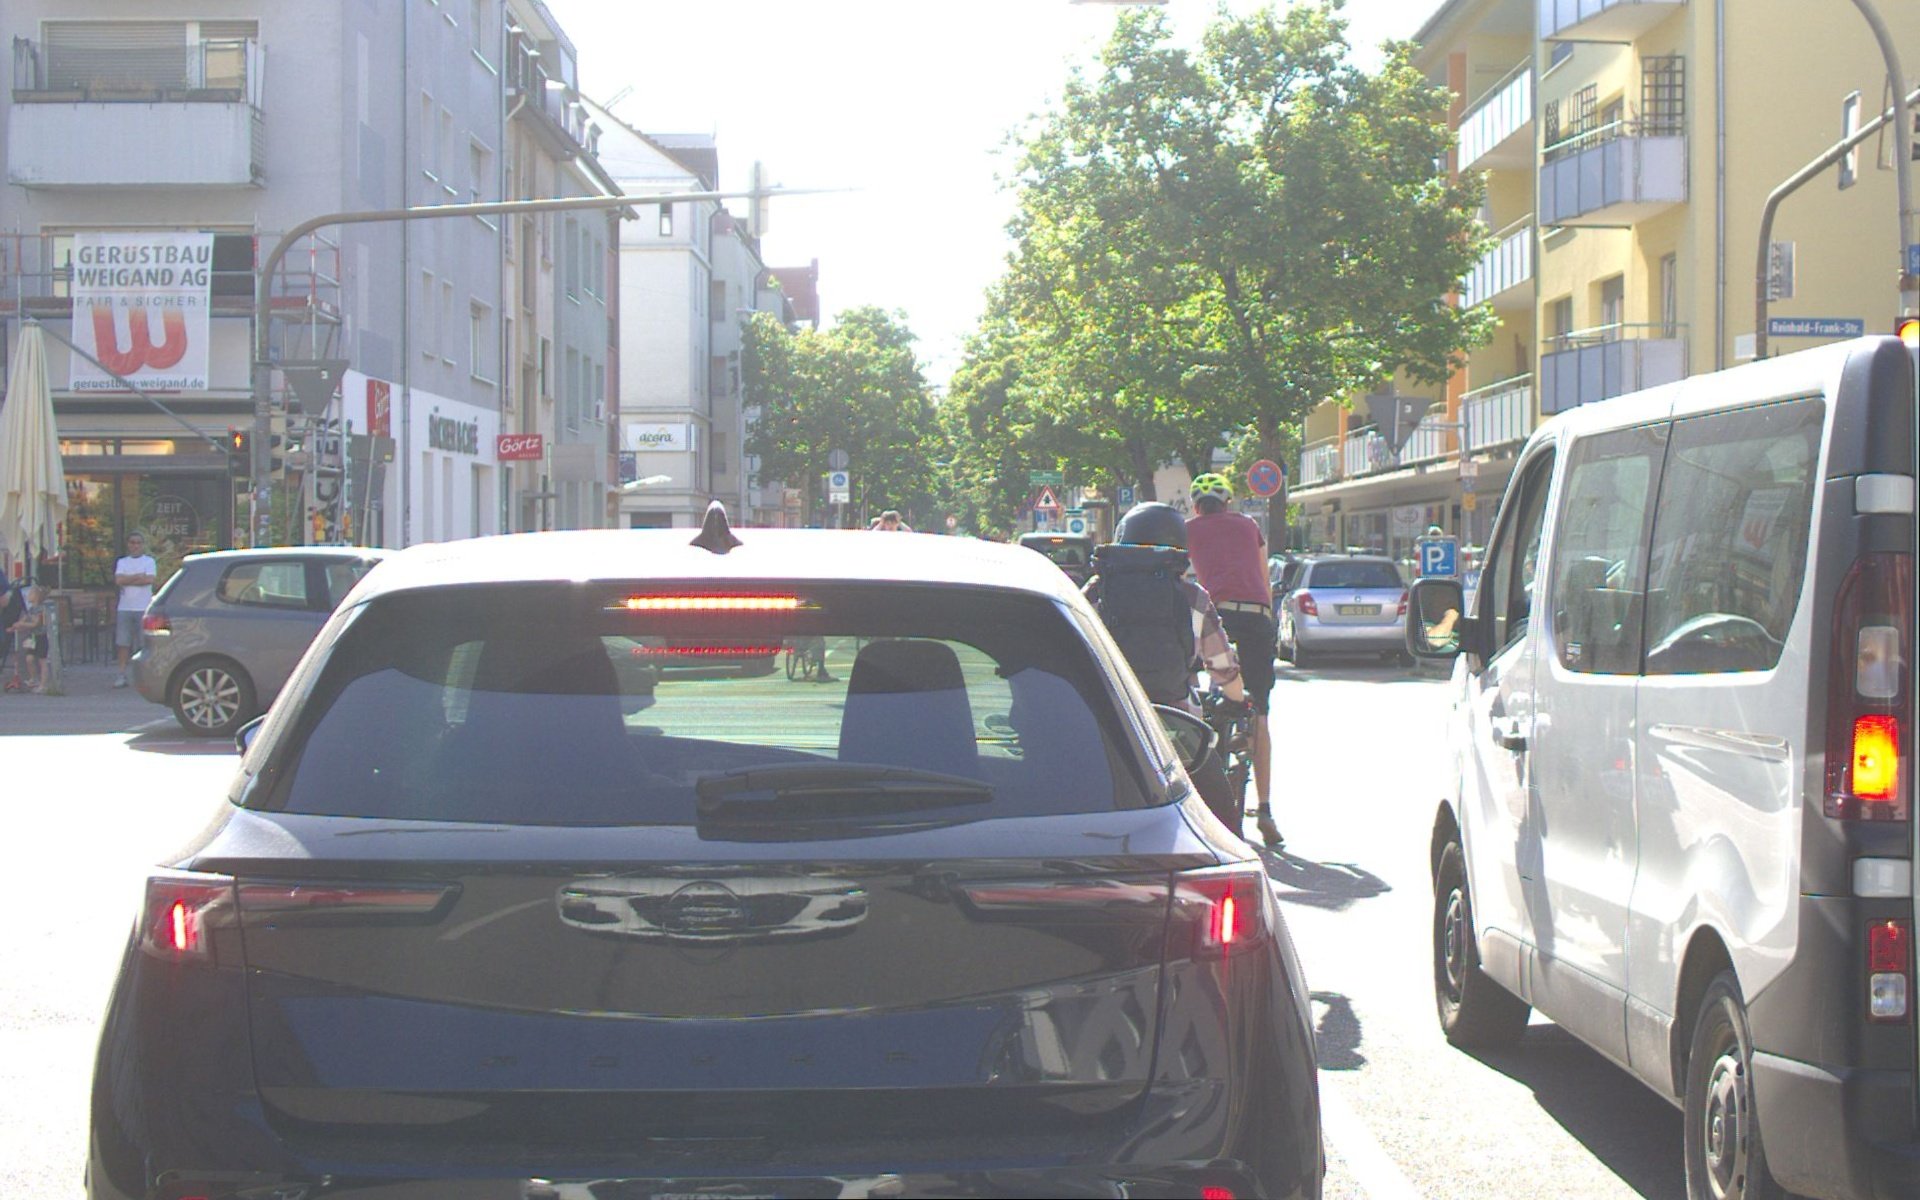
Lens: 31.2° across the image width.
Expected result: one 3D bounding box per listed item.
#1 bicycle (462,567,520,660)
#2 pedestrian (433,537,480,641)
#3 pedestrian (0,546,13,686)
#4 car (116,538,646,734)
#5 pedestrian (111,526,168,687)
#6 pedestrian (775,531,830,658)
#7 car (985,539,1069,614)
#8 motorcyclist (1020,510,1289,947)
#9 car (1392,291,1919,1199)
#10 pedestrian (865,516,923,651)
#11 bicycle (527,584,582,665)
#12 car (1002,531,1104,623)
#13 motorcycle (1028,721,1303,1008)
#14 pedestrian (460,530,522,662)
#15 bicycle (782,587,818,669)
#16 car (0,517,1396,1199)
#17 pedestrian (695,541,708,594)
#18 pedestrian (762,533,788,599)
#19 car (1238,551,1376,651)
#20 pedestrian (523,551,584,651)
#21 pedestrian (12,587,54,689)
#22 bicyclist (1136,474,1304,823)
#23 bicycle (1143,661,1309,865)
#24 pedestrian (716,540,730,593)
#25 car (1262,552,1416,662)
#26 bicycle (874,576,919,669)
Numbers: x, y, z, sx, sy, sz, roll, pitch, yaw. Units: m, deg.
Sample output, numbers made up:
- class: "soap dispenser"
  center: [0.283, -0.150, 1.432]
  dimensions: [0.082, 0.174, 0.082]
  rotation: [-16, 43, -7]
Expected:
- class: "bicycle"
  center: [-5.986, 0.158, 43.979]
  dimensions: [0.521, 1.143, 2.284]
  rotation: [0, 1, -2]
- class: "pedestrian"
  center: [-7.356, -0.164, 50.265]
  dimensions: [0.617, 1.516, 0.725]
  rotation: [0, 1, -3]
- class: "pedestrian"
  center: [-10.704, 0.168, 37.530]
  dimensions: [0.584, 1.516, 0.650]
  rotation: [0, 1, -3]
- class: "car"
  center: [-4.640, 0.264, 27.961]
  dimensions: [3.987, 1.481, 1.833]
  rotation: [-1, 1, 0]
- class: "pedestrian"
  center: [-9.083, 0.070, 38.081]
  dimensions: [0.561, 1.769, 0.584]
  rotation: [0, 1, -9]
- class: "pedestrian"
  center: [-2.002, -0.080, 43.761]
  dimensions: [0.680, 1.600, 0.762]
  rotation: [0, 1, -2]
- class: "car"
  center: [1.553, -0.570, 81.010]
  dimensions: [1.902, 1.722, 4.000]
  rotation: [0, 1, 0]
- class: "motorcyclist"
  center: [0.676, 0.432, 12.353]
  dimensions: [0.864, 1.497, 1.160]
  rotation: [0, 1, -2]
- class: "car"
  center: [2.444, 0.432, 8.458]
  dimensions: [1.993, 1.972, 4.896]
  rotation: [2, 1, -1]
- class: "pedestrian"
  center: [-0.841, -0.213, 43.622]
  dimensions: [0.706, 1.695, 0.802]
  rotation: [0, 1, -2]
- class: "bicycle"
  center: [-5.174, 0.298, 43.950]
  dimensions: [0.521, 0.989, 2.340]
  rotation: [0, 1, -2]
- class: "car"
  center: [1.770, -0.477, 66.418]
  dimensions: [1.902, 1.722, 4.073]
  rotation: [0, 1, 1]
- class: "motorcycle"
  center: [0.691, 0.899, 12.185]
  dimensions: [0.825, 0.842, 1.885]
  rotation: [0, 1, -1]
- class: "pedestrian"
  center: [-5.967, -0.055, 43.722]
  dimensions: [0.706, 1.672, 0.802]
  rotation: [0, 1, -2]
- class: "bicycle"
  center: [-2.035, 0.347, 43.793]
  dimensions: [0.443, 0.989, 2.069]
  rotation: [0, 1, -2]
- class: "car"
  center: [-0.419, 0.627, 6.333]
  dimensions: [1.770, 1.525, 4.001]
  rotation: [0, 1, -2]
- class: "pedestrian"
  center: [-8.209, -1.040, 109.089]
  dimensions: [0.402, 1.669, 0.418]
  rotation: [0, 1, -1]
- class: "pedestrian"
  center: [-4.767, -0.878, 88.562]
  dimensions: [0.570, 1.684, 0.588]
  rotation: [0, 1, 6]
- class: "car"
  center: [5.203, -0.016, 51.958]
  dimensions: [1.634, 1.428, 4.000]
  rotation: [0, 1, -1]
- class: "pedestrian"
  center: [-5.138, 0.011, 43.512]
  dimensions: [0.706, 1.249, 0.802]
  rotation: [0, 1, -2]
- class: "pedestrian"
  center: [-10.092, 0.411, 37.429]
  dimensions: [0.355, 1.088, 0.462]
  rotation: [0, 1, -3]
- class: "bicyclist"
  center: [1.307, 0.227, 17.527]
  dimensions: [0.689, 1.707, 1.414]
  rotation: [0, 1, -2]
- class: "bicycle"
  center: [1.339, 0.803, 17.652]
  dimensions: [0.577, 0.901, 2.301]
  rotation: [0, 1, -2]
- class: "pedestrian"
  center: [-7.495, -1.065, 108.619]
  dimensions: [0.402, 1.669, 0.418]
  rotation: [0, 1, -1]
- class: "car"
  center: [5.168, 0.064, 47.240]
  dimensions: [1.634, 1.428, 3.957]
  rotation: [0, 1, -1]
- class: "bicycle"
  center: [-0.820, 0.274, 43.793]
  dimensions: [0.521, 1.143, 2.170]
  rotation: [0, 1, -2]
